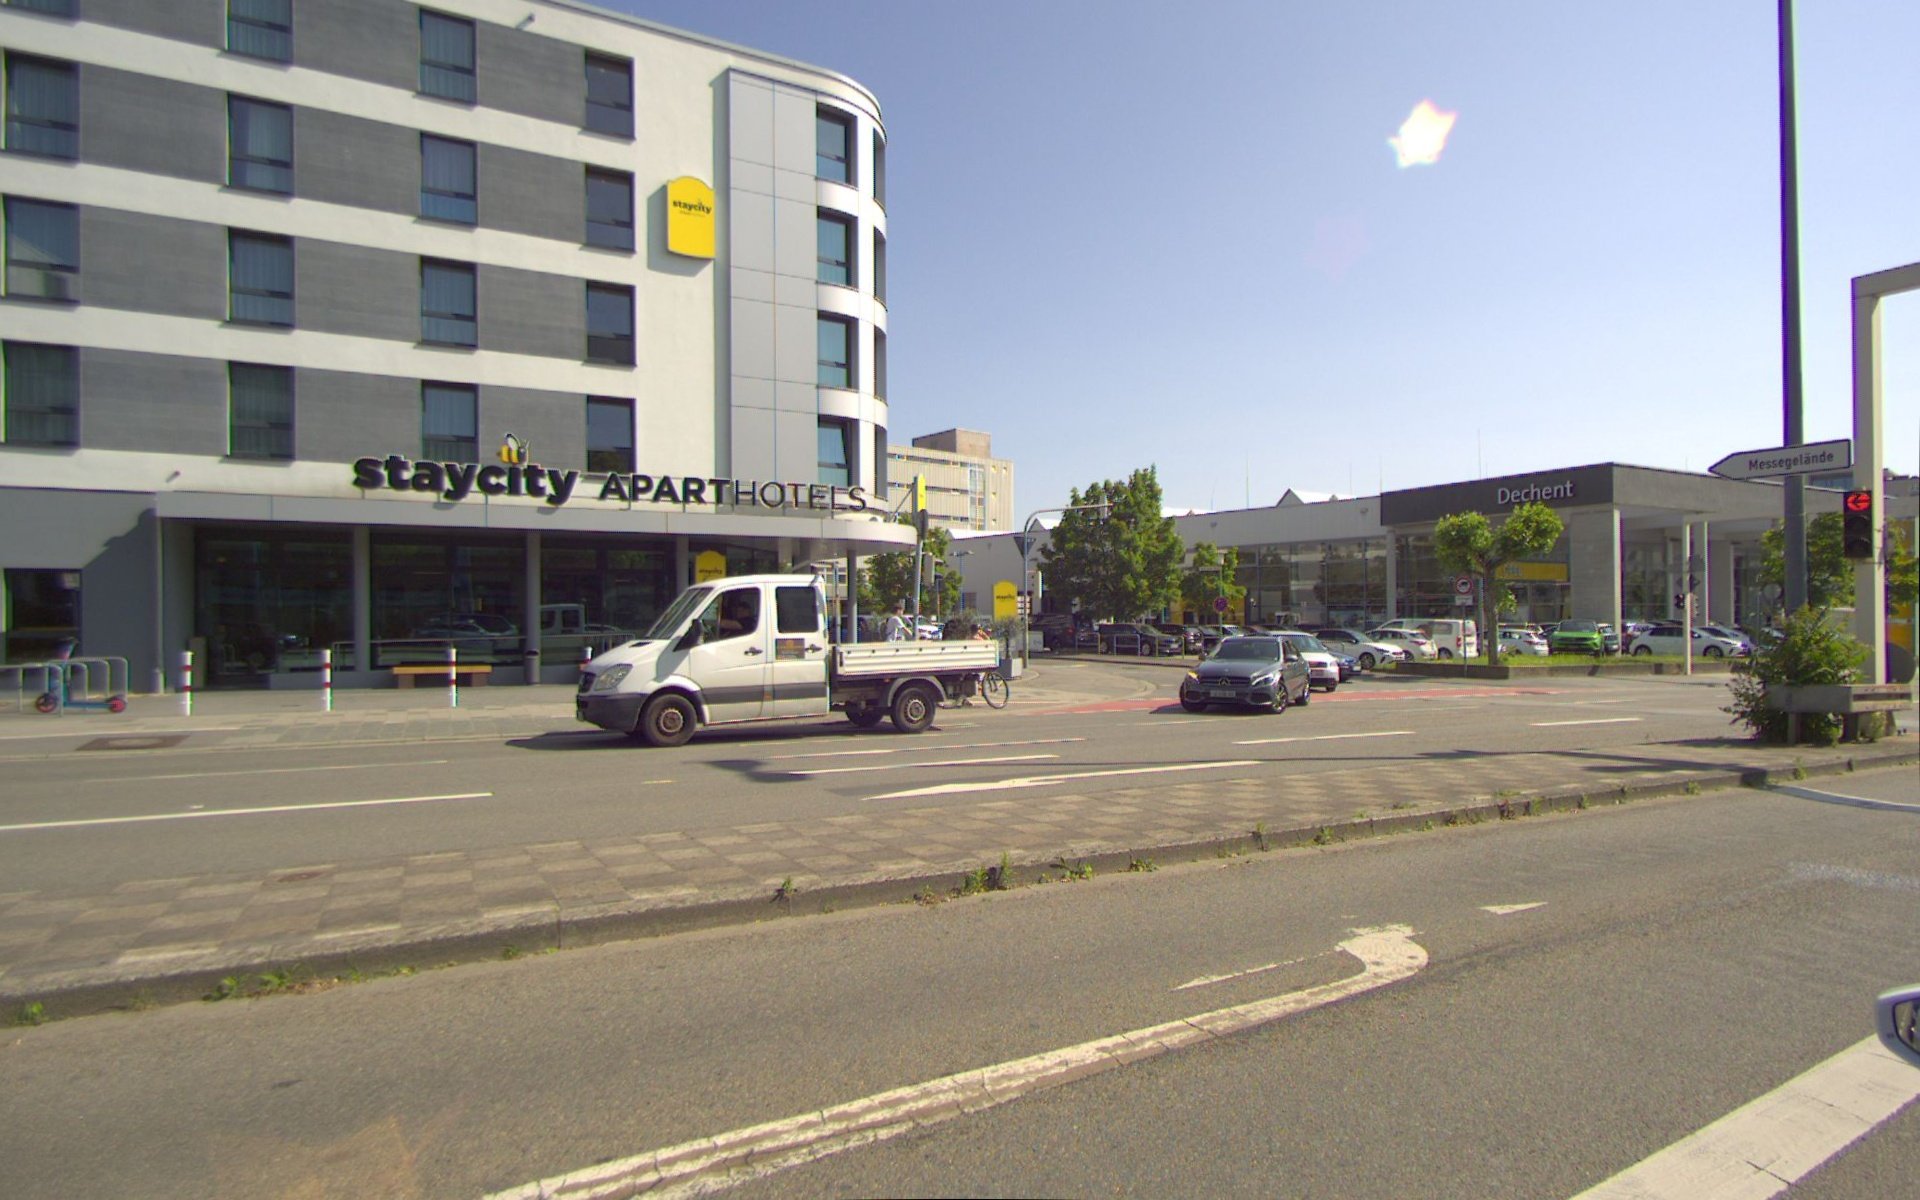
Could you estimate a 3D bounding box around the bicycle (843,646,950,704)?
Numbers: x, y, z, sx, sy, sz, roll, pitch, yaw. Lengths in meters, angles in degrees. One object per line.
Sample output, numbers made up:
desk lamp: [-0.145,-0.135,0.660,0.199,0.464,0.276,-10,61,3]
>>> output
bicycle: [-1.297,1.522,20.434,2.121,1.131,0.770,1,-1,-7]

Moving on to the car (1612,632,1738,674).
car: [30.252,2.212,42.580,1.981,1.620,3.959,1,-2,-36]

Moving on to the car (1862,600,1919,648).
car: [53.229,1.352,55.749,1.973,2.635,4.345,1,-1,-24]

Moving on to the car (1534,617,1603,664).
car: [23.986,1.610,39.711,1.870,1.756,3.293,0,-3,23]

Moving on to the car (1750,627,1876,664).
car: [41.607,2.184,49.115,1.978,1.719,4.333,1,-2,-32]

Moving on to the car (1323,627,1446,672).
car: [17.407,1.988,41.384,1.980,1.719,4.328,1,-2,-35]

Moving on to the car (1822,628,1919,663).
car: [47.010,2.291,51.120,1.971,1.719,4.347,1,-1,-23]

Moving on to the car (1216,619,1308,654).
car: [15.805,1.883,52.686,1.982,1.719,4.324,1,-2,-37]

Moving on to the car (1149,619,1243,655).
car: [11.664,1.820,49.857,1.980,1.719,4.328,1,-2,-35]

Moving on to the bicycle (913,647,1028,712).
bicycle: [0.219,1.513,19.500,2.138,1.131,0.763,1,2,-33]

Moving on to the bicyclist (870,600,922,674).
bicyclist: [-1.304,0.747,20.450,1.008,1.479,0.769,1,-1,-7]

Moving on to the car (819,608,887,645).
car: [-6.806,1.648,63.492,1.985,2.158,4.565,2,0,-42]

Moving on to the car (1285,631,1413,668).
car: [15.070,1.875,39.114,1.980,1.317,4.328,1,-2,-35]

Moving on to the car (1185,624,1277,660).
car: [13.812,2.122,51.397,1.980,1.719,4.328,1,-2,-35]

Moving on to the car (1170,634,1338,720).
car: [6.045,1.457,20.259,1.929,1.446,4.571,-1,-1,35]

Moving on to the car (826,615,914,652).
car: [-4.458,1.606,49.230,1.984,1.737,4.773,1,-1,-40]

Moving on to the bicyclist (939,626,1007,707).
bicyclist: [0.249,1.273,19.520,1.016,1.480,0.763,1,2,-33]

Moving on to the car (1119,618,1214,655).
car: [9.887,1.734,48.295,1.980,1.719,4.328,1,-2,-35]

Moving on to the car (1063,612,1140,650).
car: [7.748,1.696,55.296,1.983,2.040,3.956,1,-2,-38]

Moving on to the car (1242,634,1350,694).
car: [8.963,1.667,27.088,1.742,1.457,3.917,0,-1,2]

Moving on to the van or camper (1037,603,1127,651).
van or camper: [6.396,1.420,52.992,1.983,2.432,4.678,1,-2,-38]

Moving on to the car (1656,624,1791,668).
car: [32.942,1.955,43.464,1.978,1.789,4.274,1,-2,-32]

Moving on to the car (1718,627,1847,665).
car: [38.858,2.131,47.564,1.978,1.719,4.333,1,-2,-32]

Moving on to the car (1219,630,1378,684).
car: [10.572,1.727,31.540,4.311,1.466,1.988,1,-1,45]

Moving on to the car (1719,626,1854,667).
car: [37.431,2.078,45.588,1.978,1.719,4.333,2,-1,-32]

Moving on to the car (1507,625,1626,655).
car: [27.859,1.837,46.260,1.982,1.284,4.325,4,-4,-37]

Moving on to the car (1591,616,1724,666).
car: [27.344,1.576,39.487,1.978,1.862,3.849,1,-2,-32]

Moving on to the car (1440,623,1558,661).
car: [24.544,1.872,45.873,1.982,1.612,4.325,1,-2,-37]

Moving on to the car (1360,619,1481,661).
car: [19.812,1.704,43.353,1.982,1.719,4.323,1,-2,-38]

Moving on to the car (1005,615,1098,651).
car: [4.557,1.626,50.238,4.304,1.719,1.991,-1,-2,39]

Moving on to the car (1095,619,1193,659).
car: [8.360,1.753,45.981,1.980,1.719,4.328,1,-2,-35]

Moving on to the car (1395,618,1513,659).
car: [21.971,1.693,44.784,1.982,1.719,4.323,1,-2,-38]

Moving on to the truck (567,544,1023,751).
truck: [-2.365,0.689,15.064,6.355,2.578,2.349,1,-2,-28]

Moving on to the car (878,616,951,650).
car: [-2.707,1.935,59.238,1.971,1.815,4.376,2,0,-42]

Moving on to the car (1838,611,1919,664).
car: [49.080,1.936,52.387,2.096,2.720,4.490,1,-1,-21]
